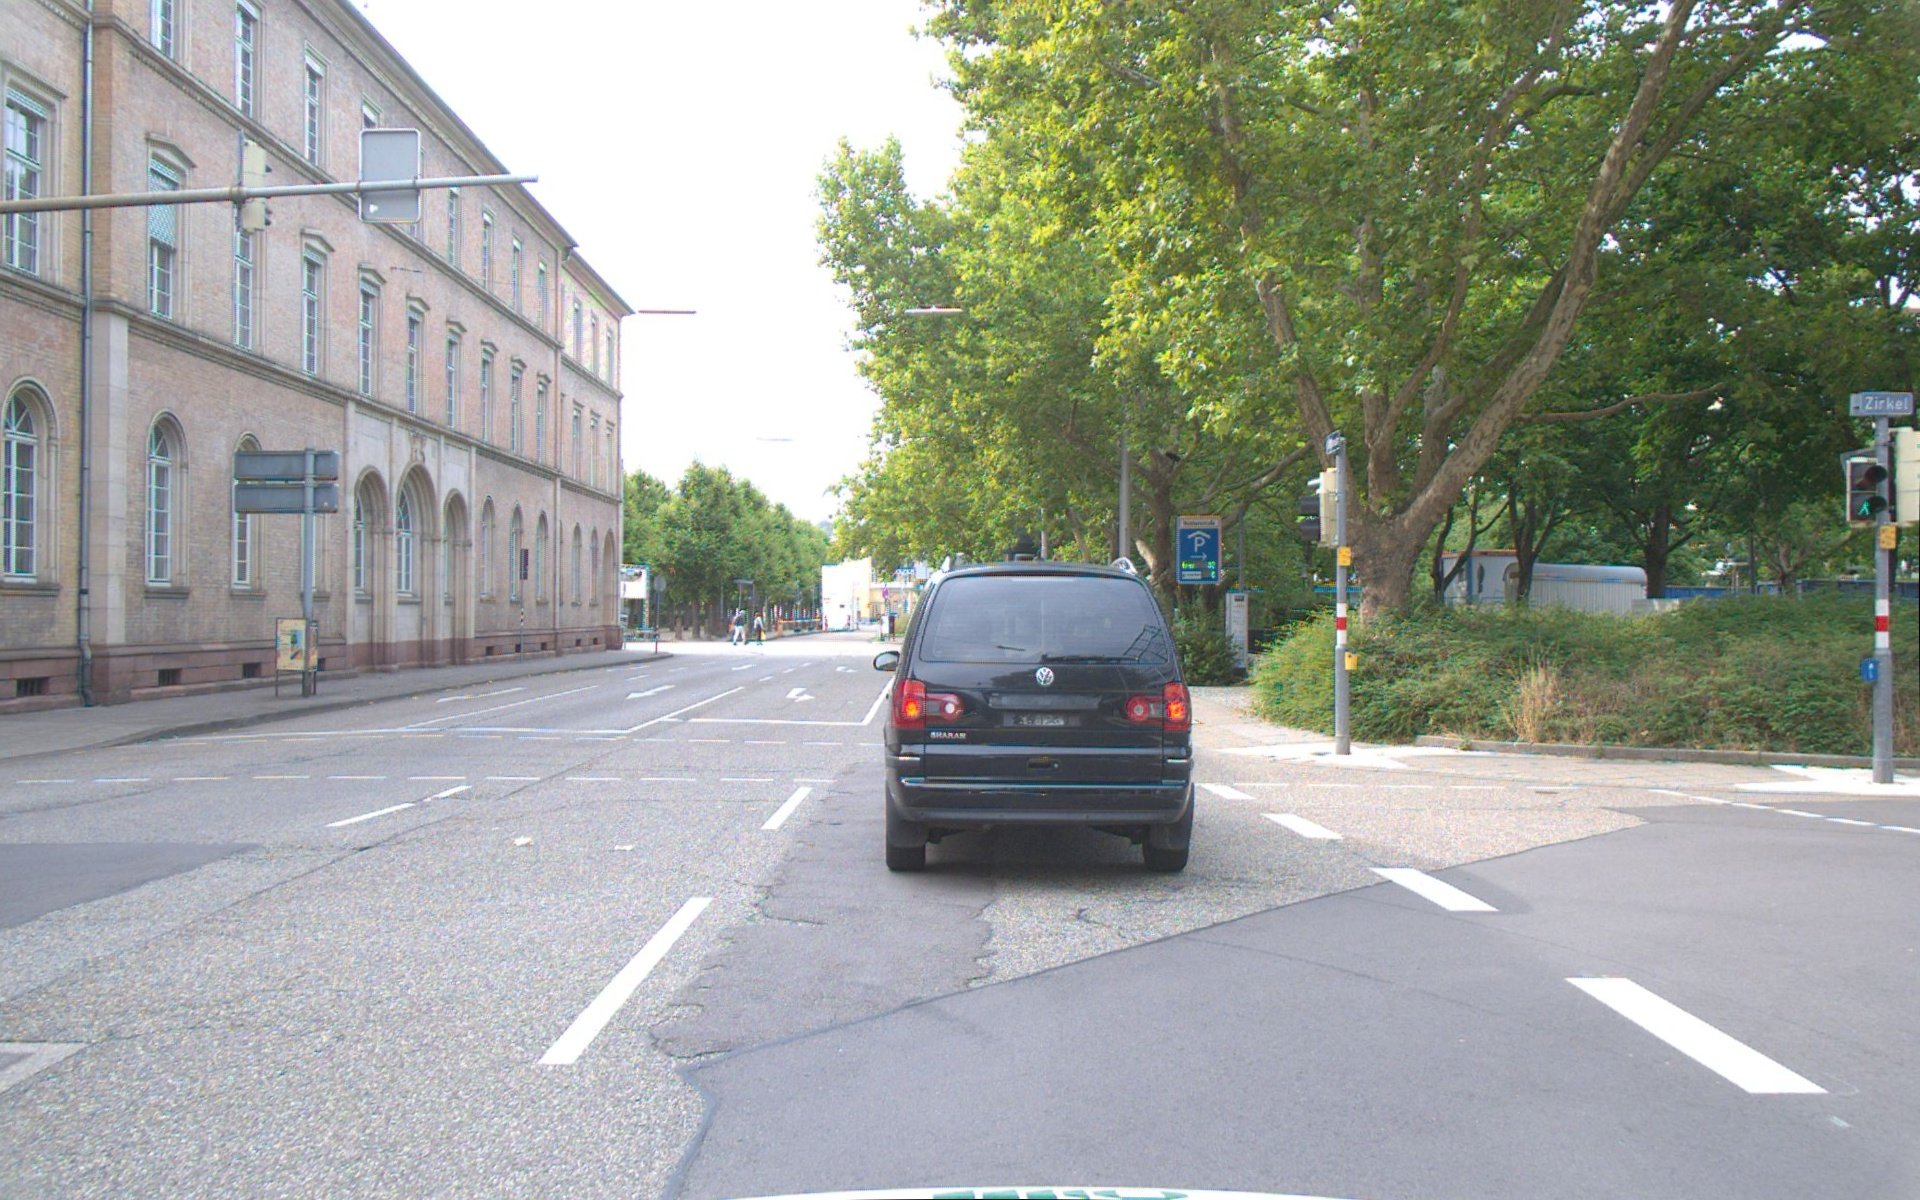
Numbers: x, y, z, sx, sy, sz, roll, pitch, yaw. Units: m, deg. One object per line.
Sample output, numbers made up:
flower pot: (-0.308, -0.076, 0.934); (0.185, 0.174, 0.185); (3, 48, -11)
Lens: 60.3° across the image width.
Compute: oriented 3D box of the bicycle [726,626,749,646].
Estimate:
bicycle: (-13.620, 2.203, 101.183); (0.937, 1.129, 2.566); (2, 0, -18)

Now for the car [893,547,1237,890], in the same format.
car: (0.491, 0.608, 10.496); (1.757, 1.738, 4.129); (0, 0, -1)

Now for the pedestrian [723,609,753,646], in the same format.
pedestrian: (-10.718, 1.327, 80.023); (0.940, 1.772, 1.256); (2, 0, 17)

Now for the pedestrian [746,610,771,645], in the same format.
pedestrian: (-9.694, 1.323, 79.681); (0.877, 1.670, 0.853); (2, 0, 17)
